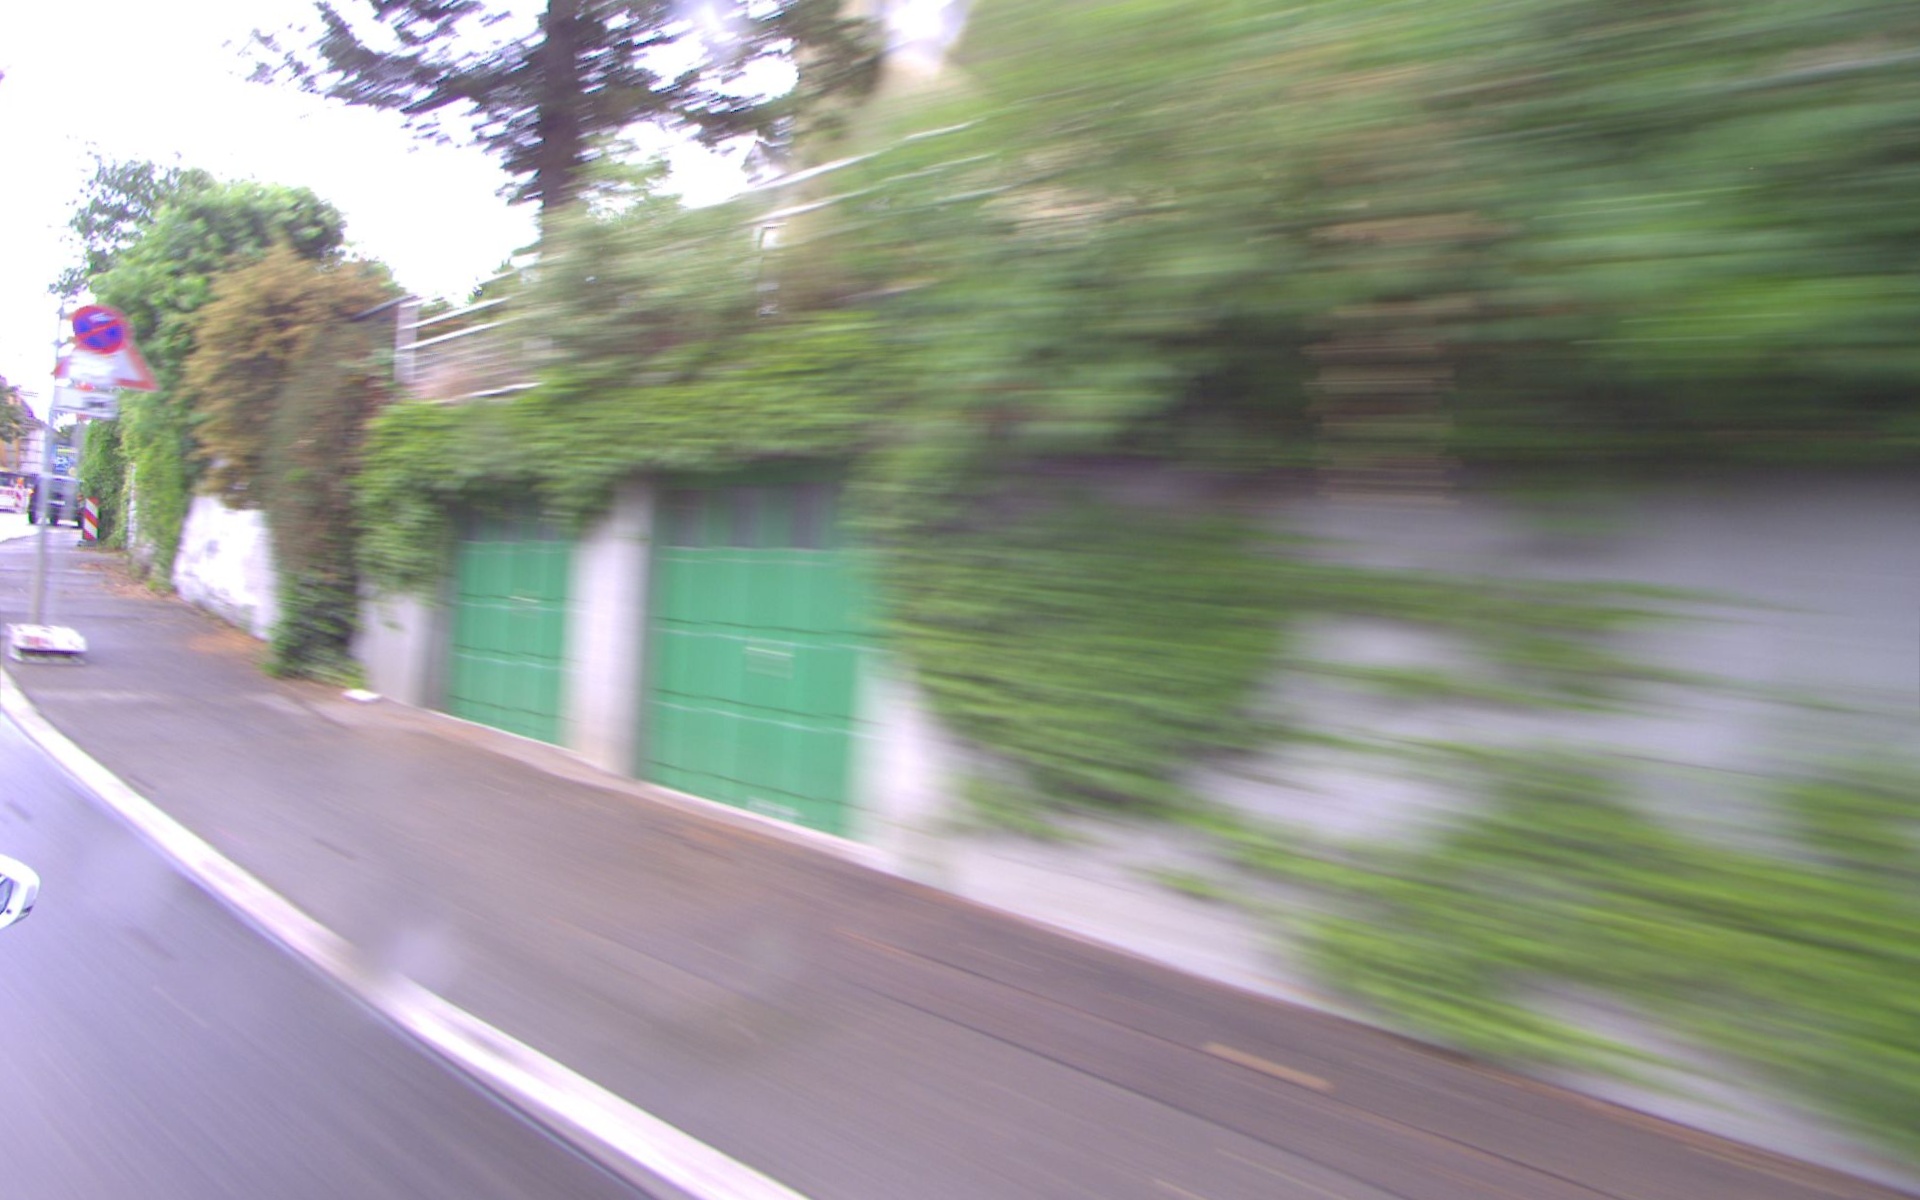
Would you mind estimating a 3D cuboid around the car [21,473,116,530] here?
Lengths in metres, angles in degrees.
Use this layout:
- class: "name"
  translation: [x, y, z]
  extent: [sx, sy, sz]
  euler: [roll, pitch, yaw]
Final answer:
- class: "car"
  translation: [-34.112, -3.712, 38.608]
  extent: [1.713, 1.920, 4.027]
  euler: [2, 3, -27]
